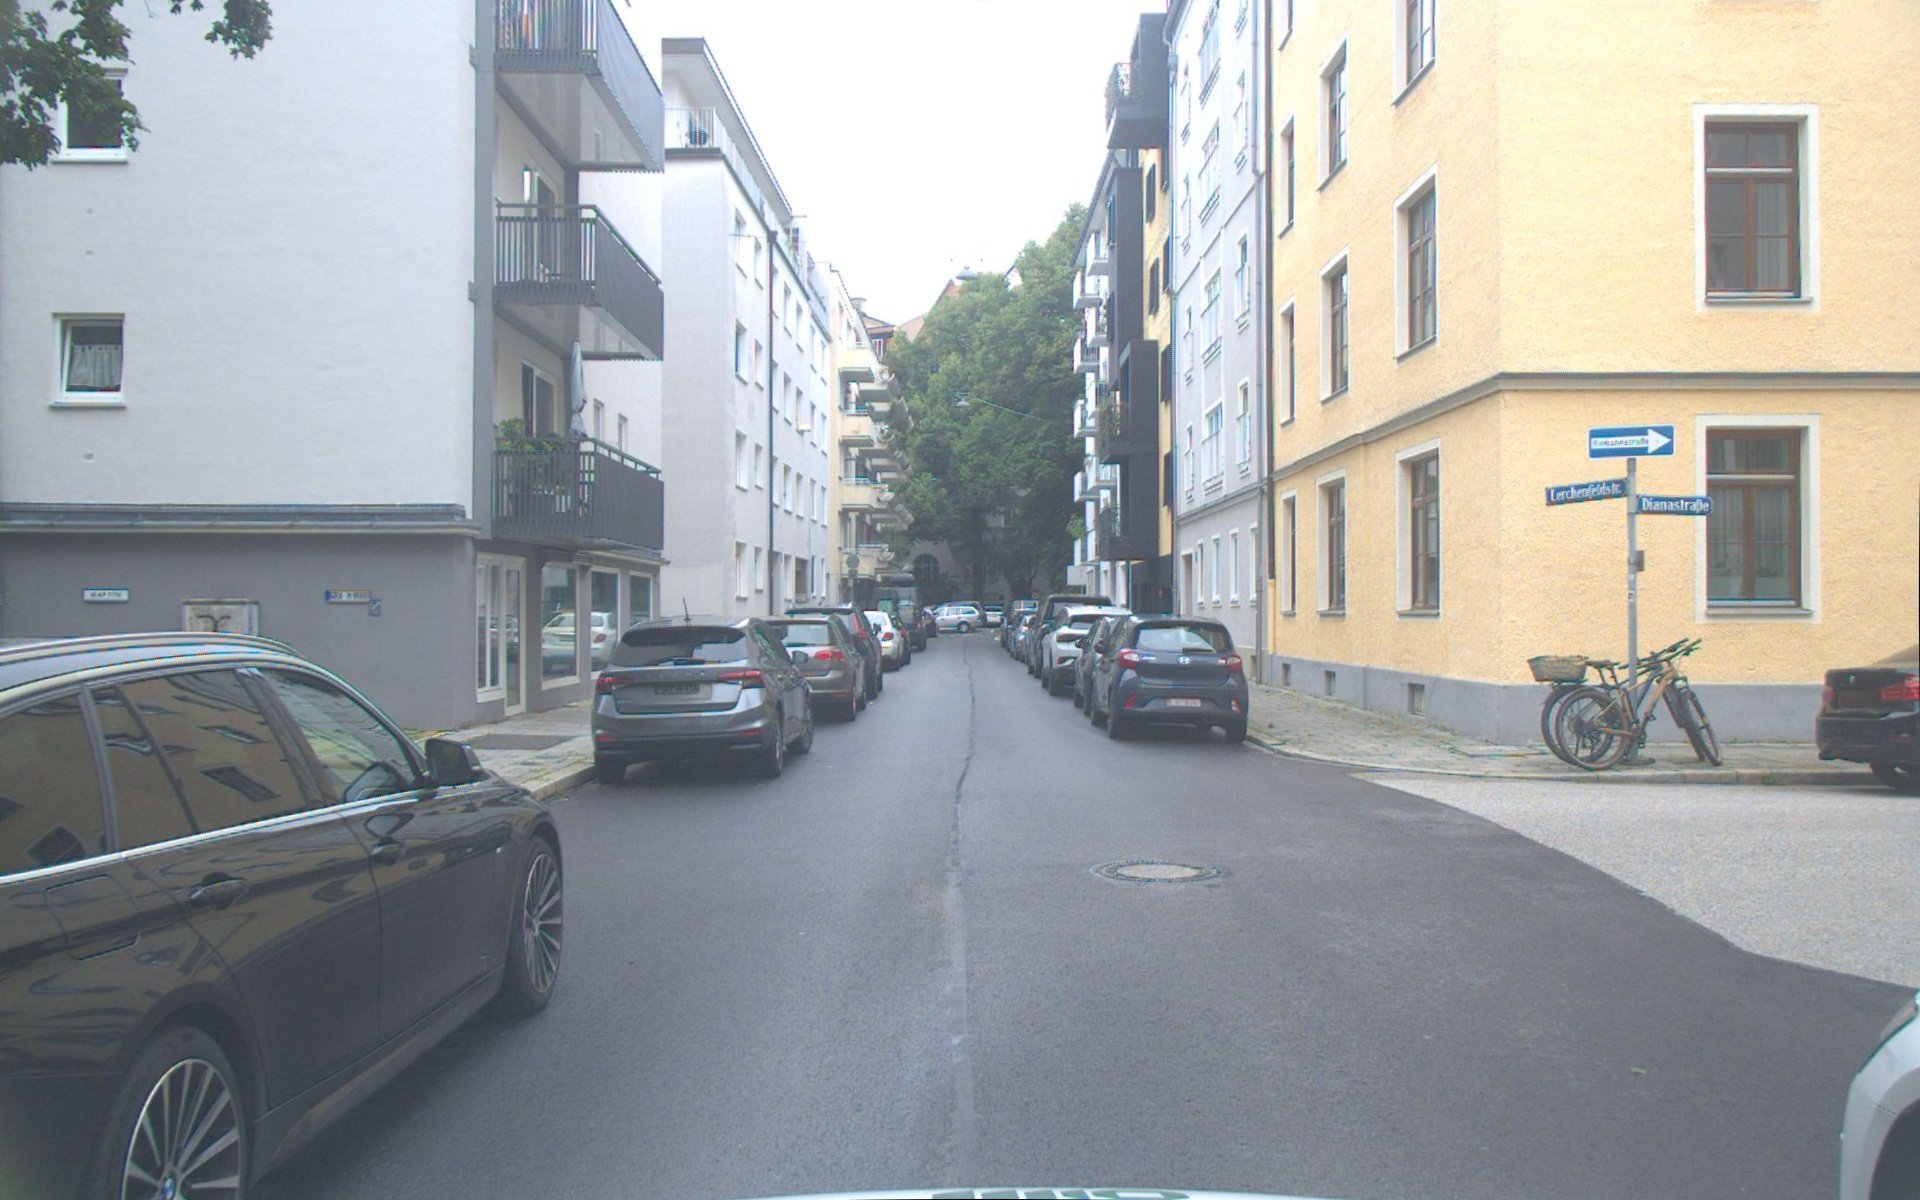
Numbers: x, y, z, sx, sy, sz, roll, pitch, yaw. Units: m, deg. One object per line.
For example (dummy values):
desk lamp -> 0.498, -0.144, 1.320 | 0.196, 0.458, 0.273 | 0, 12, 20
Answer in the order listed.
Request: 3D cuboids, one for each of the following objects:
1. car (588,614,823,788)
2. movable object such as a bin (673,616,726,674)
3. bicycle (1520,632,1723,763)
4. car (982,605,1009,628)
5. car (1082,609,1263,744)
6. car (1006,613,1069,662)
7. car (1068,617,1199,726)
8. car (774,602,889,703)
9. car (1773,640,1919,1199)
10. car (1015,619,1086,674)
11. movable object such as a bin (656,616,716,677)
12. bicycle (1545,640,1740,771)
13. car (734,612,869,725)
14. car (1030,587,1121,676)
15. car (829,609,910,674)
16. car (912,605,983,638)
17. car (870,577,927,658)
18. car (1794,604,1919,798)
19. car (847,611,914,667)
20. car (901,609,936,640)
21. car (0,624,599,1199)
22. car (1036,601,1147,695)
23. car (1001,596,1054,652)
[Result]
car -> -2.377, 0.891, 16.363 | 1.658, 1.467, 3.942 | -1, 0, 0
movable object such as a bin -> -6.325, 1.087, 40.210 | 1.025, 1.360, 0.993 | -2, -1, 3
bicycle -> 6.429, 0.937, 16.108 | 1.771, 1.194, 0.505 | -1, 1, -2
car -> 2.295, 1.101, 108.296 | 1.609, 1.408, 3.745 | -3, 0, -1
car -> 2.647, 0.908, 21.509 | 1.715, 1.495, 4.342 | 3, 0, -1
car -> 2.561, 1.219, 55.580 | 1.792, 1.479, 4.415 | 3, 0, 0
car -> 2.645, 1.056, 25.884 | 1.629, 1.495, 3.819 | 2, 0, 1
car -> -2.249, 0.890, 29.861 | 1.740, 1.658, 4.414 | -1, 0, -1
car -> 2.654, 0.806, 1.438 | 1.783, 1.433, 3.949 | 1, 0, -3
car -> 2.677, 1.355, 49.714 | 1.792, 1.479, 4.415 | 3, 0, 0
movable object such as a bin -> -6.473, 1.089, 39.132 | 1.142, 1.360, 1.025 | -2, -1, 3
bicycle -> 6.423, 0.989, 15.587 | 1.678, 1.159, 0.374 | -1, 1, -1
car -> -2.219, 0.927, 24.034 | 1.659, 1.467, 3.976 | -1, 0, -2
car -> 2.670, 0.714, 39.159 | 1.792, 1.943, 4.415 | 2, 0, 0
car -> -2.292, 1.028, 42.959 | 1.740, 1.513, 4.519 | -3, 0, 0
car -> -0.683, 1.177, 91.300 | 3.807, 1.612, 1.647 | -3, 0, -2
car -> -2.284, 0.661, 62.675 | 1.897, 2.850, 4.532 | -3, 0, -1
car -> 9.519, 0.812, 13.949 | 4.127, 1.520, 1.711 | 0, -1, -2
car -> -2.266, 1.093, 47.972 | 1.741, 1.478, 4.045 | -3, 0, -1
car -> -2.005, 1.174, 81.311 | 1.609, 1.408, 3.482 | -3, 0, -1
car -> -2.393, 0.821, 4.475 | 1.818, 1.433, 4.383 | -1, 0, 0
car -> 2.425, 0.850, 31.421 | 1.648, 1.595, 4.415 | 3, 0, -1
car -> 2.623, 0.926, 65.581 | 1.792, 2.034, 4.415 | 3, 0, 0
